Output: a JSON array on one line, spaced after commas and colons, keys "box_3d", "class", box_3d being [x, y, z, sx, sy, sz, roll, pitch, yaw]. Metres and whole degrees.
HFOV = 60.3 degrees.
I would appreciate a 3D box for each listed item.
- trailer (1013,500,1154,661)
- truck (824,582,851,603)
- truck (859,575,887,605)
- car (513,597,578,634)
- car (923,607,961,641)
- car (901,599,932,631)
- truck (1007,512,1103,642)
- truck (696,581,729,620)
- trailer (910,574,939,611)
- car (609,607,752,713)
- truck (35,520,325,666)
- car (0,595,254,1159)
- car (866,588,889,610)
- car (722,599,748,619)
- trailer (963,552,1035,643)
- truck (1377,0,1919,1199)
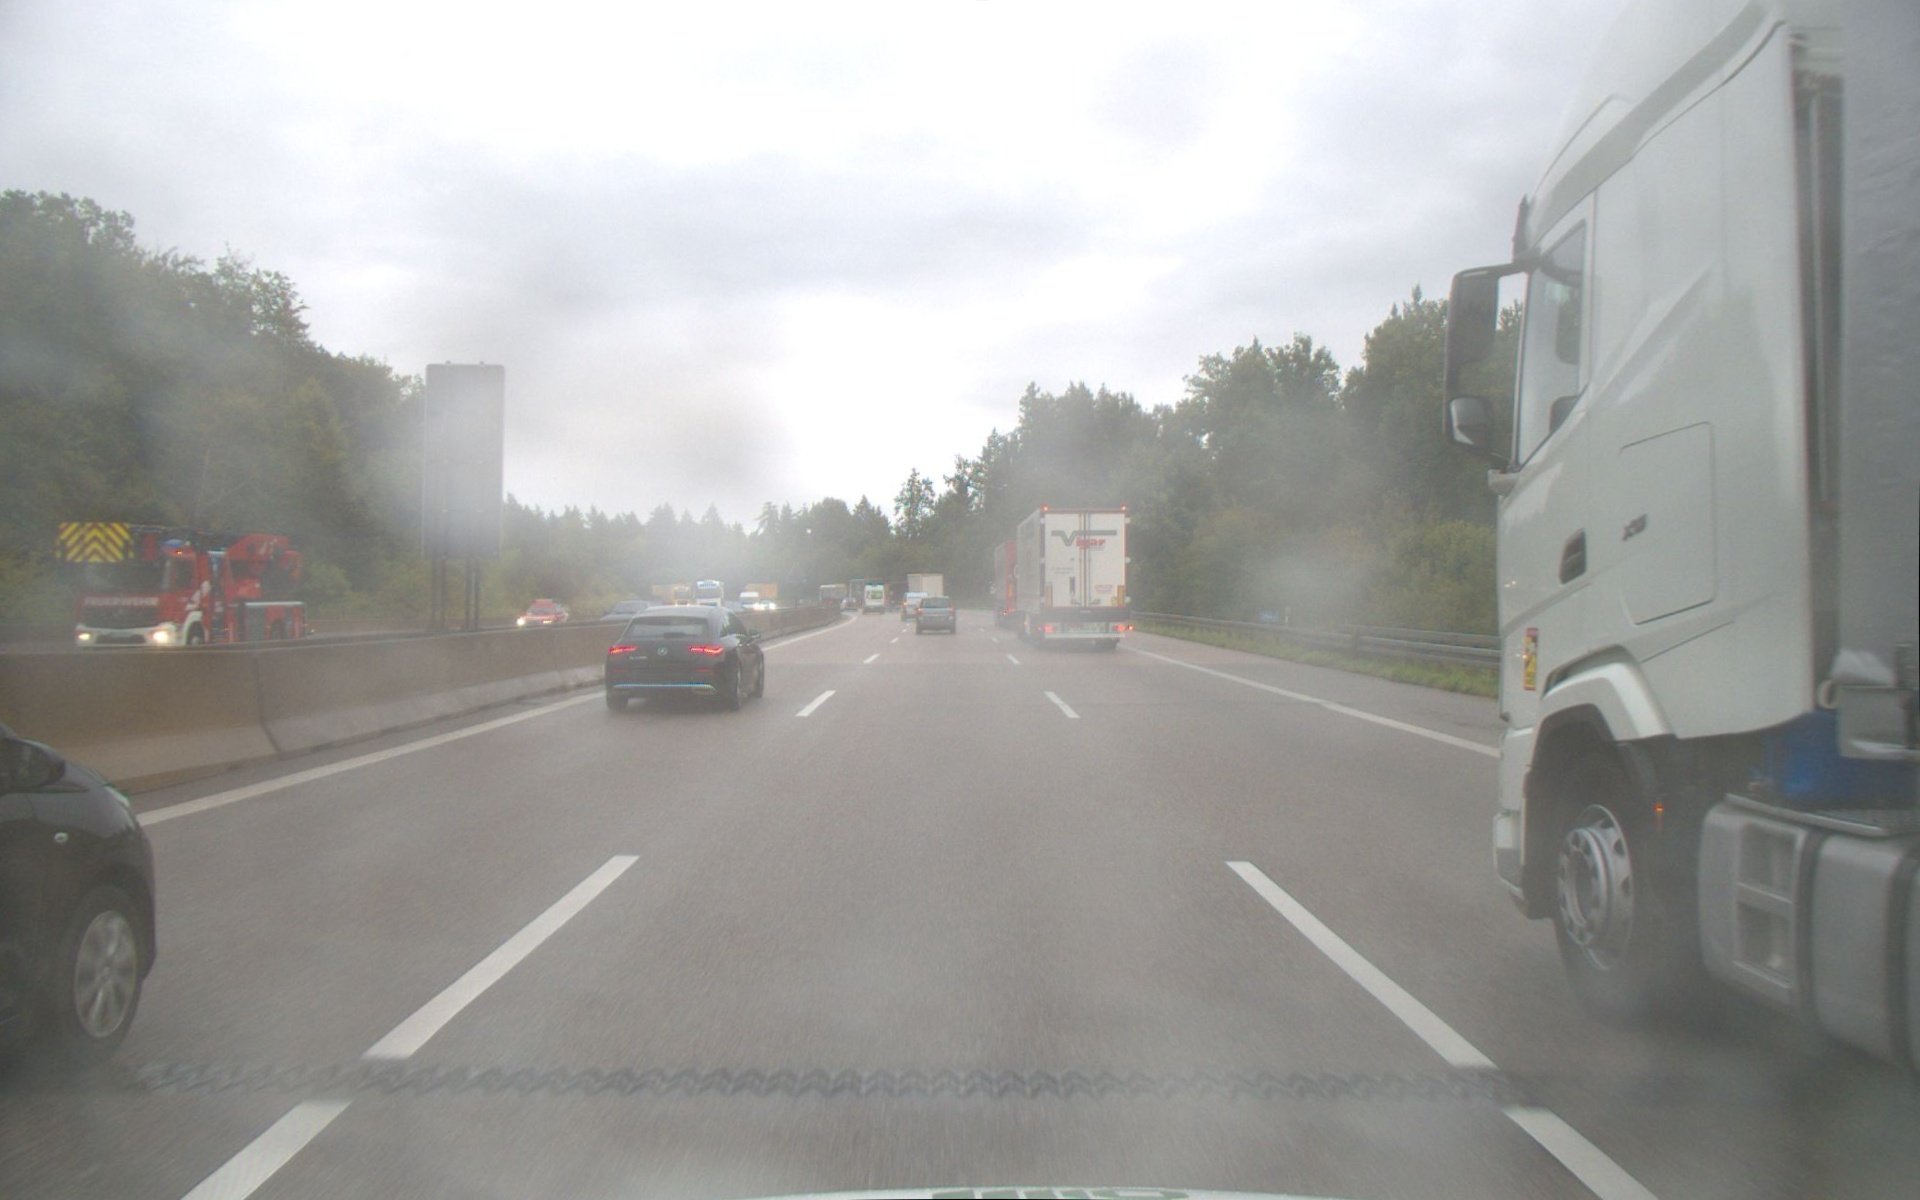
[{"box_3d": [3.455, -0.541, 50.156, 2.679, 4.175, 13.676, -1, 0, -2], "class": "trailer"}, {"box_3d": [-18.076, -1.119, 243.126, 3.027, 2.956, 7.883, -1, 1, -11], "class": "truck"}, {"box_3d": [-12.665, -1.520, 241.095, 3.305, 4.203, 10.422, -1, 1, -7], "class": "truck"}, {"box_3d": [-19.919, 0.725, 79.726, 1.953, 1.729, 4.973, -1, 0, -1], "class": "car"}, {"box_3d": [-0.802, 1.004, 71.163, 1.523, 1.375, 3.682, 1, 0, -3], "class": "car"}, {"box_3d": [-2.883, 0.978, 109.319, 1.692, 2.049, 3.651, -2, 0, -7], "class": "car"}, {"box_3d": [3.183, -0.768, 56.928, 2.742, 4.175, 5.966, -1, 0, -1], "class": "truck"}, {"box_3d": [-24.843, 0.053, 166.262, 2.514, 3.731, 10.482, -1, 0, -4], "class": "truck"}, {"box_3d": [-4.101, -0.899, 189.600, 2.373, 4.139, 12.041, -1, 1, -5], "class": "trailer"}, {"box_3d": [-3.940, 0.803, 23.779, 1.522, 1.375, 3.682, 1, 0, -2], "class": "car"}, {"box_3d": [-19.266, -0.173, 41.855, 2.382, 3.230, 10.660, 0, 0, -1], "class": "truck"}, {"box_3d": [-3.358, 0.730, 4.183, 1.650, 1.488, 3.682, 1, 0, -2], "class": "car"}, {"box_3d": [-7.973, -0.093, 159.098, 1.955, 2.095, 3.995, -2, 0, -6], "class": "car"}, {"box_3d": [-18.025, 0.696, 132.648, 1.575, 1.581, 4.641, -1, 0, -1], "class": "car"}, {"box_3d": [1.776, -0.138, 81.069, 2.324, 4.022, 12.510, -2, 0, -4], "class": "trailer"}, {"box_3d": [3.365, -0.564, 4.998, 2.666, 4.112, 5.751, 0, 0, -1], "class": "truck"}]
